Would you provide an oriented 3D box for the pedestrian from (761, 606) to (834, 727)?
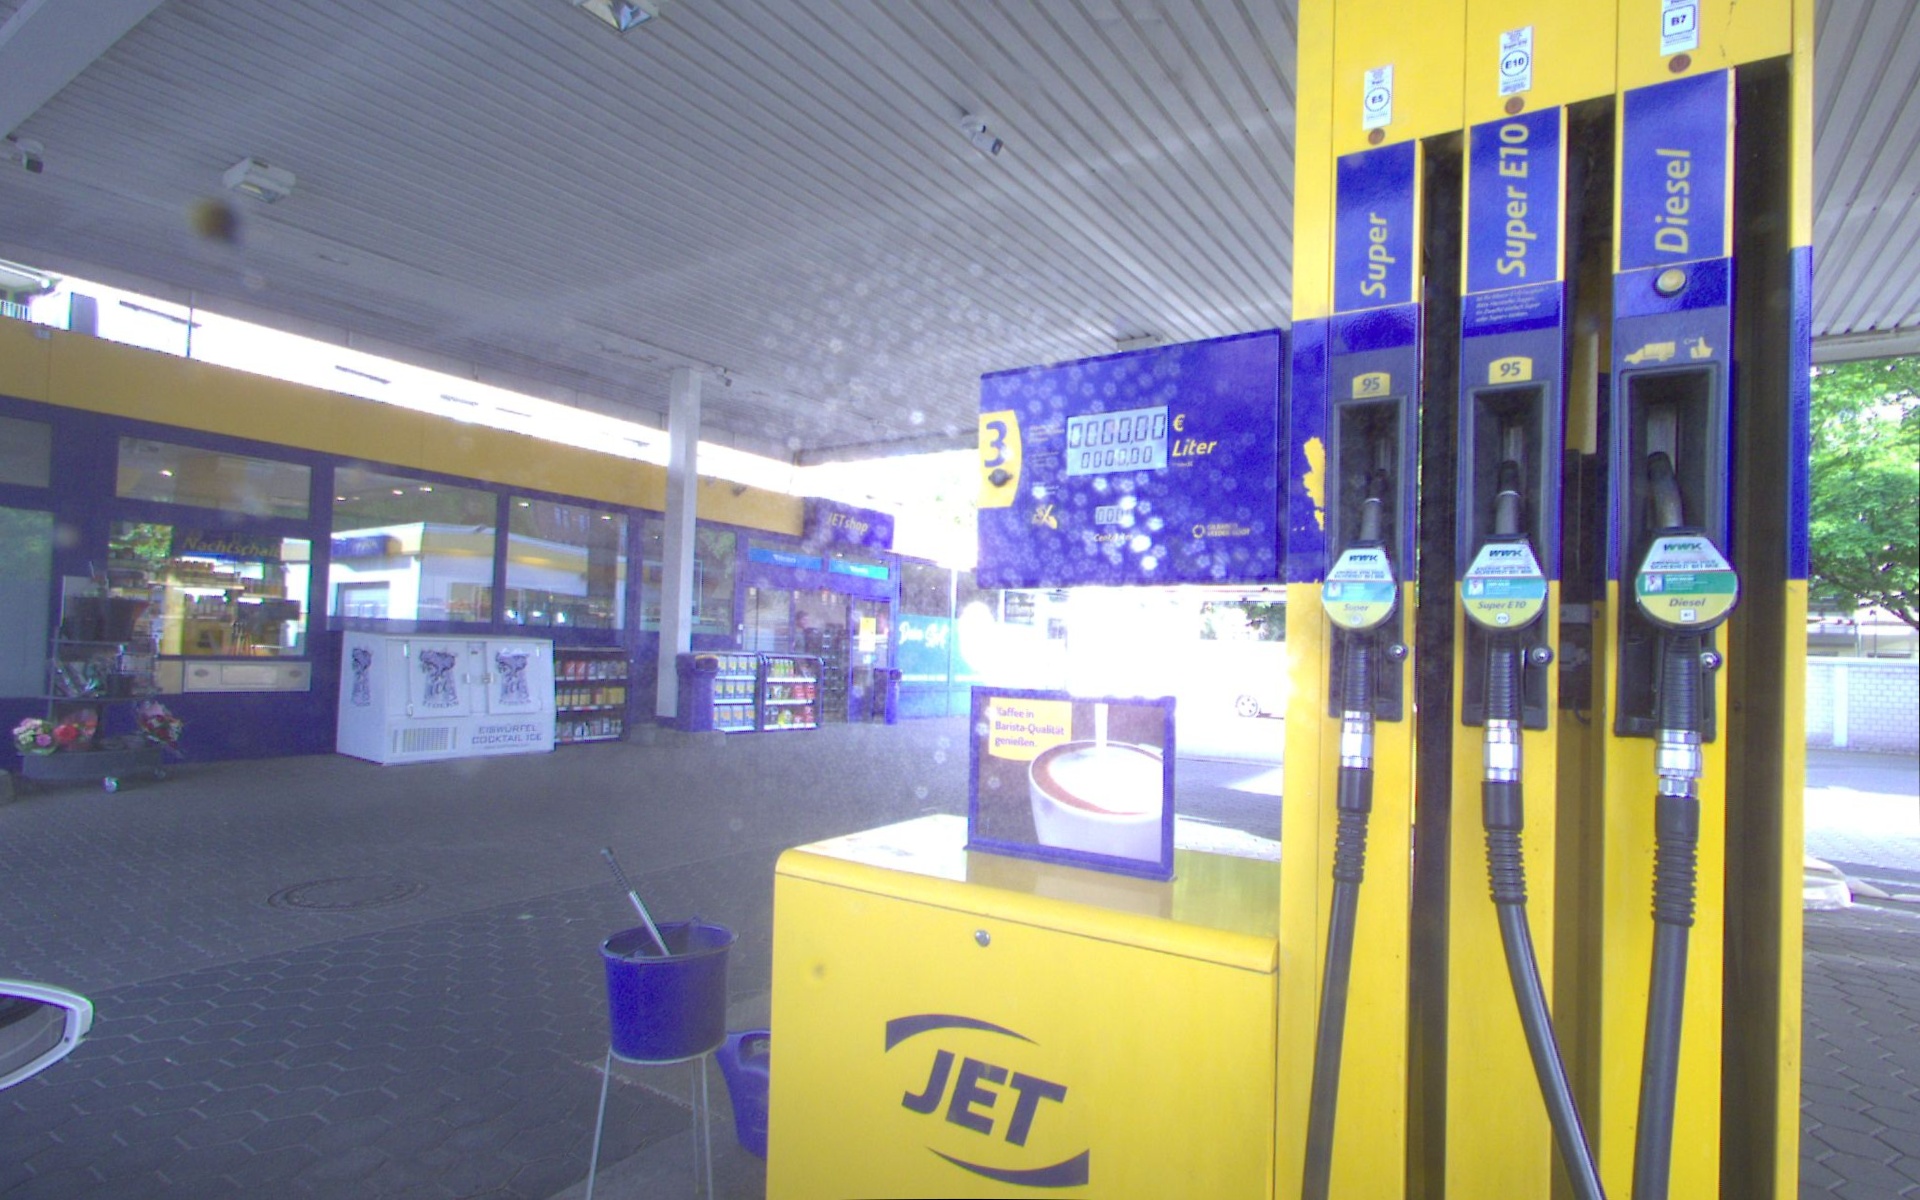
[{"bbox_3d":[-2.566,1.045,15.887,0.965,1.838,0.804,1,-2,0],"label":"pedestrian"}]
